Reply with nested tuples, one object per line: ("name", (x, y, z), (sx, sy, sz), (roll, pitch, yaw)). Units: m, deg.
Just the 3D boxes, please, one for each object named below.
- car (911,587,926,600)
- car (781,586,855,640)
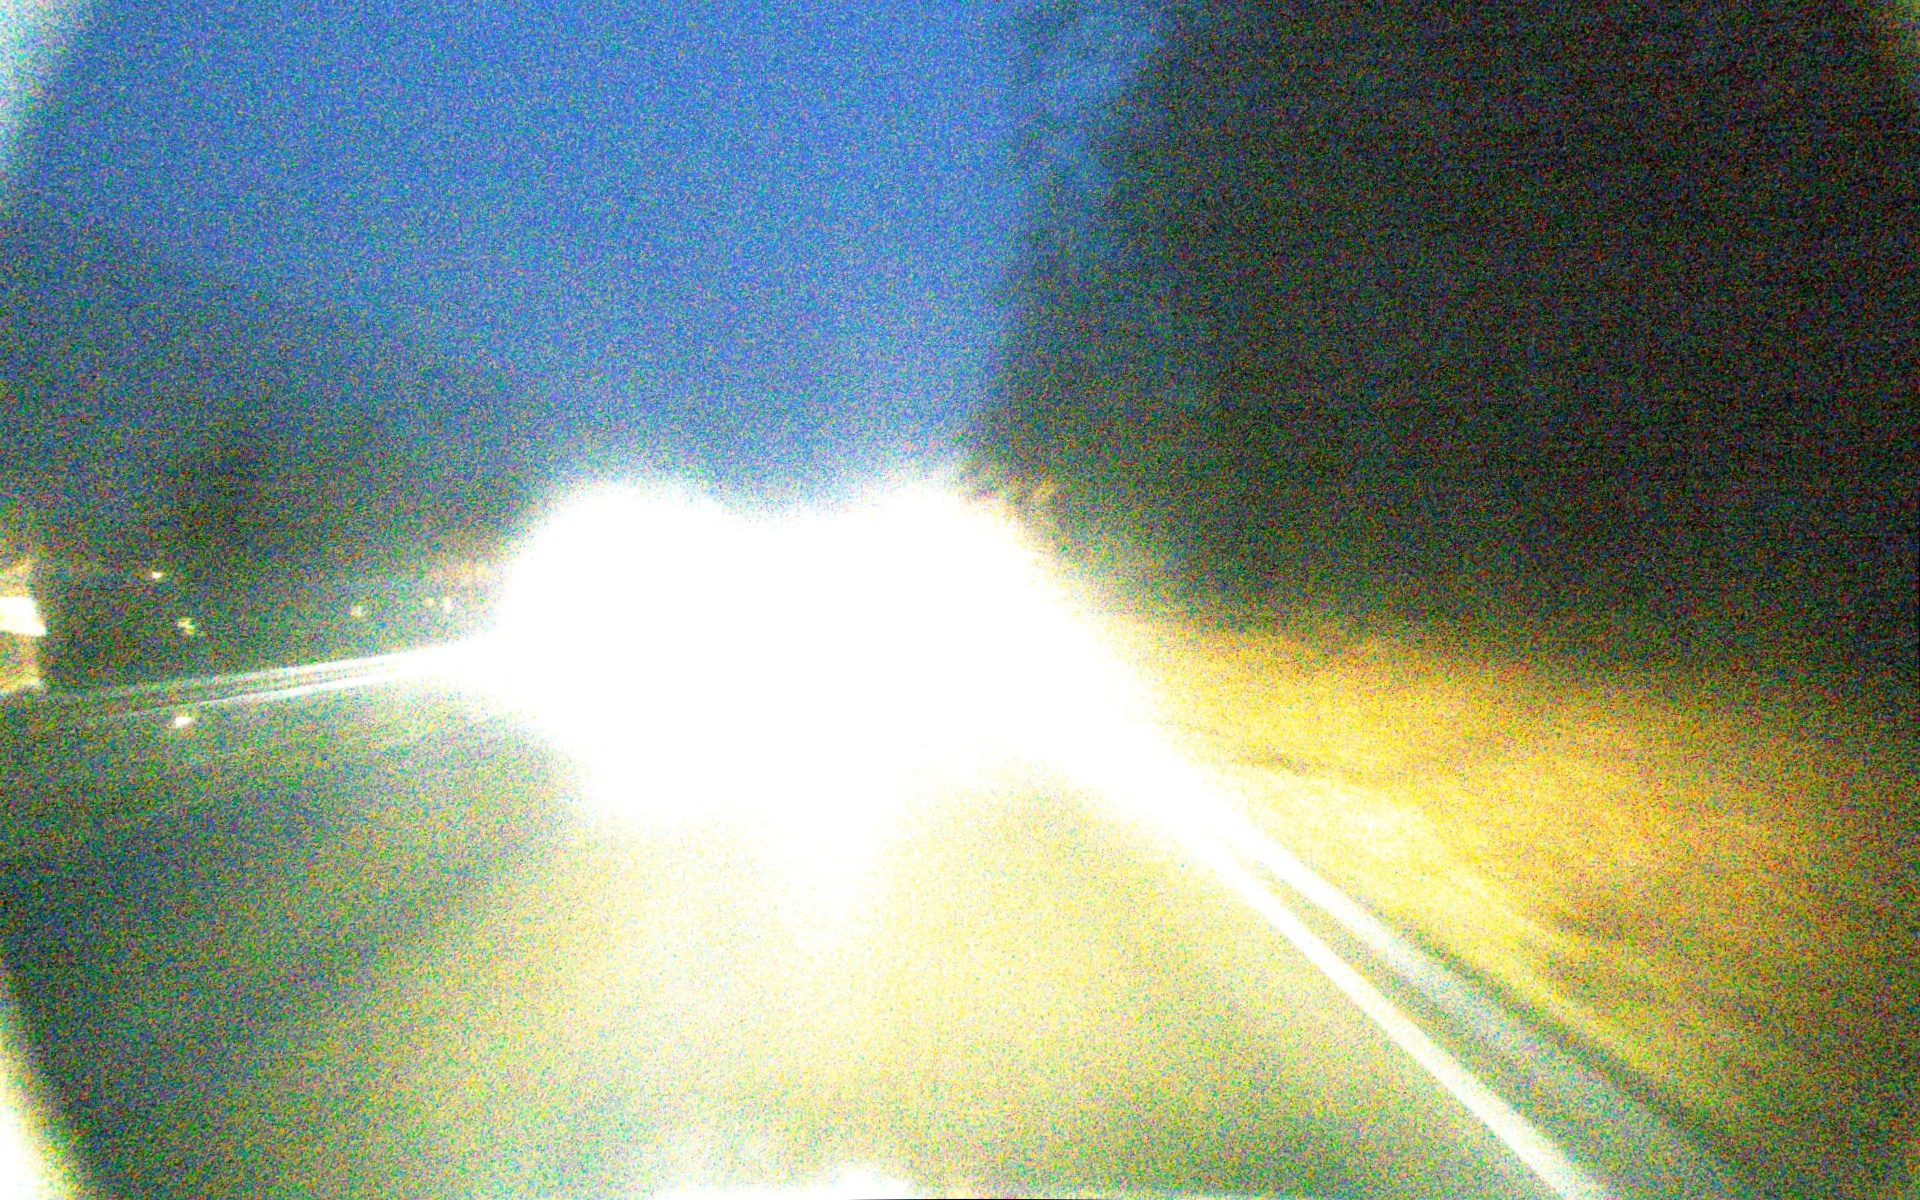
("car", (-5.396, -0.867, 215.621), (1.953, 1.695, 3.999), (1, 0, -1))
("car", (-4.502, 0.402, 52.946), (2.055, 1.668, 4.454), (0, 0, -1))
